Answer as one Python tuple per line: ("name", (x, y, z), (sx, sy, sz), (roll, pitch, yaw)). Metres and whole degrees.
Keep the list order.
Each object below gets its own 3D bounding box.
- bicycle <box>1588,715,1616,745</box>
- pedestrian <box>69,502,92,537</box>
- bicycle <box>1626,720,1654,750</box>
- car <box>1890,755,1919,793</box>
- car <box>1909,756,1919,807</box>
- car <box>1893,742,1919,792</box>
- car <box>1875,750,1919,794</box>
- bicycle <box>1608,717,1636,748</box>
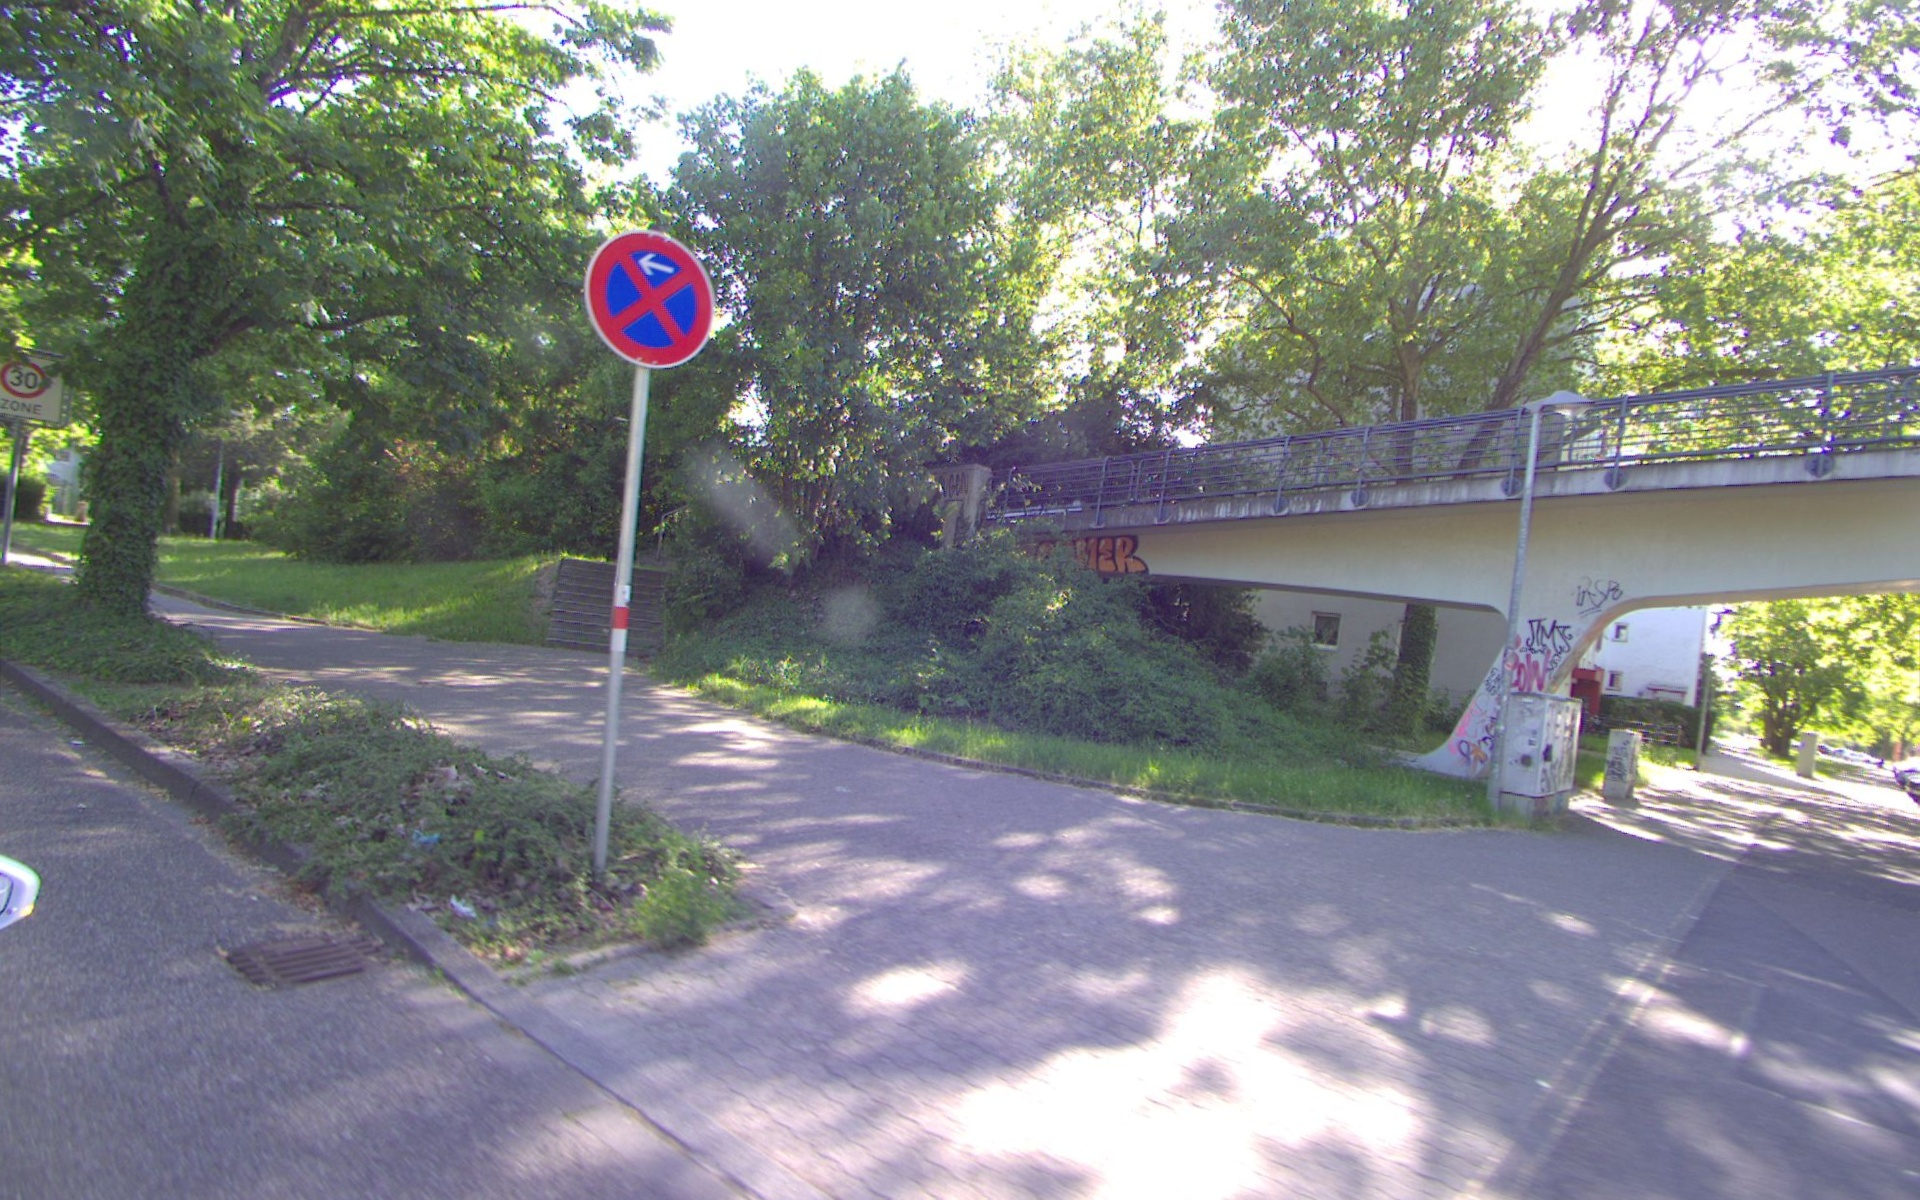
("bicycle", (26.744, 5.403, 41.870), (0.584, 1.120, 1.792), (7, -1, 43))
("pedestrian", (-45.201, -4.144, 51.723), (0.641, 1.681, 0.648), (7, 0, 39))
("bicycle", (27.675, 5.507, 40.928), (0.584, 1.120, 1.792), (7, -1, 43))
("car", (42.742, 7.806, 42.782), (4.506, 1.441, 1.800), (9, 1, 2))
("car", (30.404, 5.714, 29.164), (3.928, 1.479, 1.799), (9, 1, -1))
("car", (45.423, 7.944, 45.333), (4.505, 2.077, 2.018), (9, 1, 3))
("car", (39.365, 7.166, 40.170), (3.852, 1.434, 1.799), (9, 1, 0))
("bicycle", (27.239, 5.462, 41.388), (0.584, 1.120, 1.792), (7, -1, 43))
